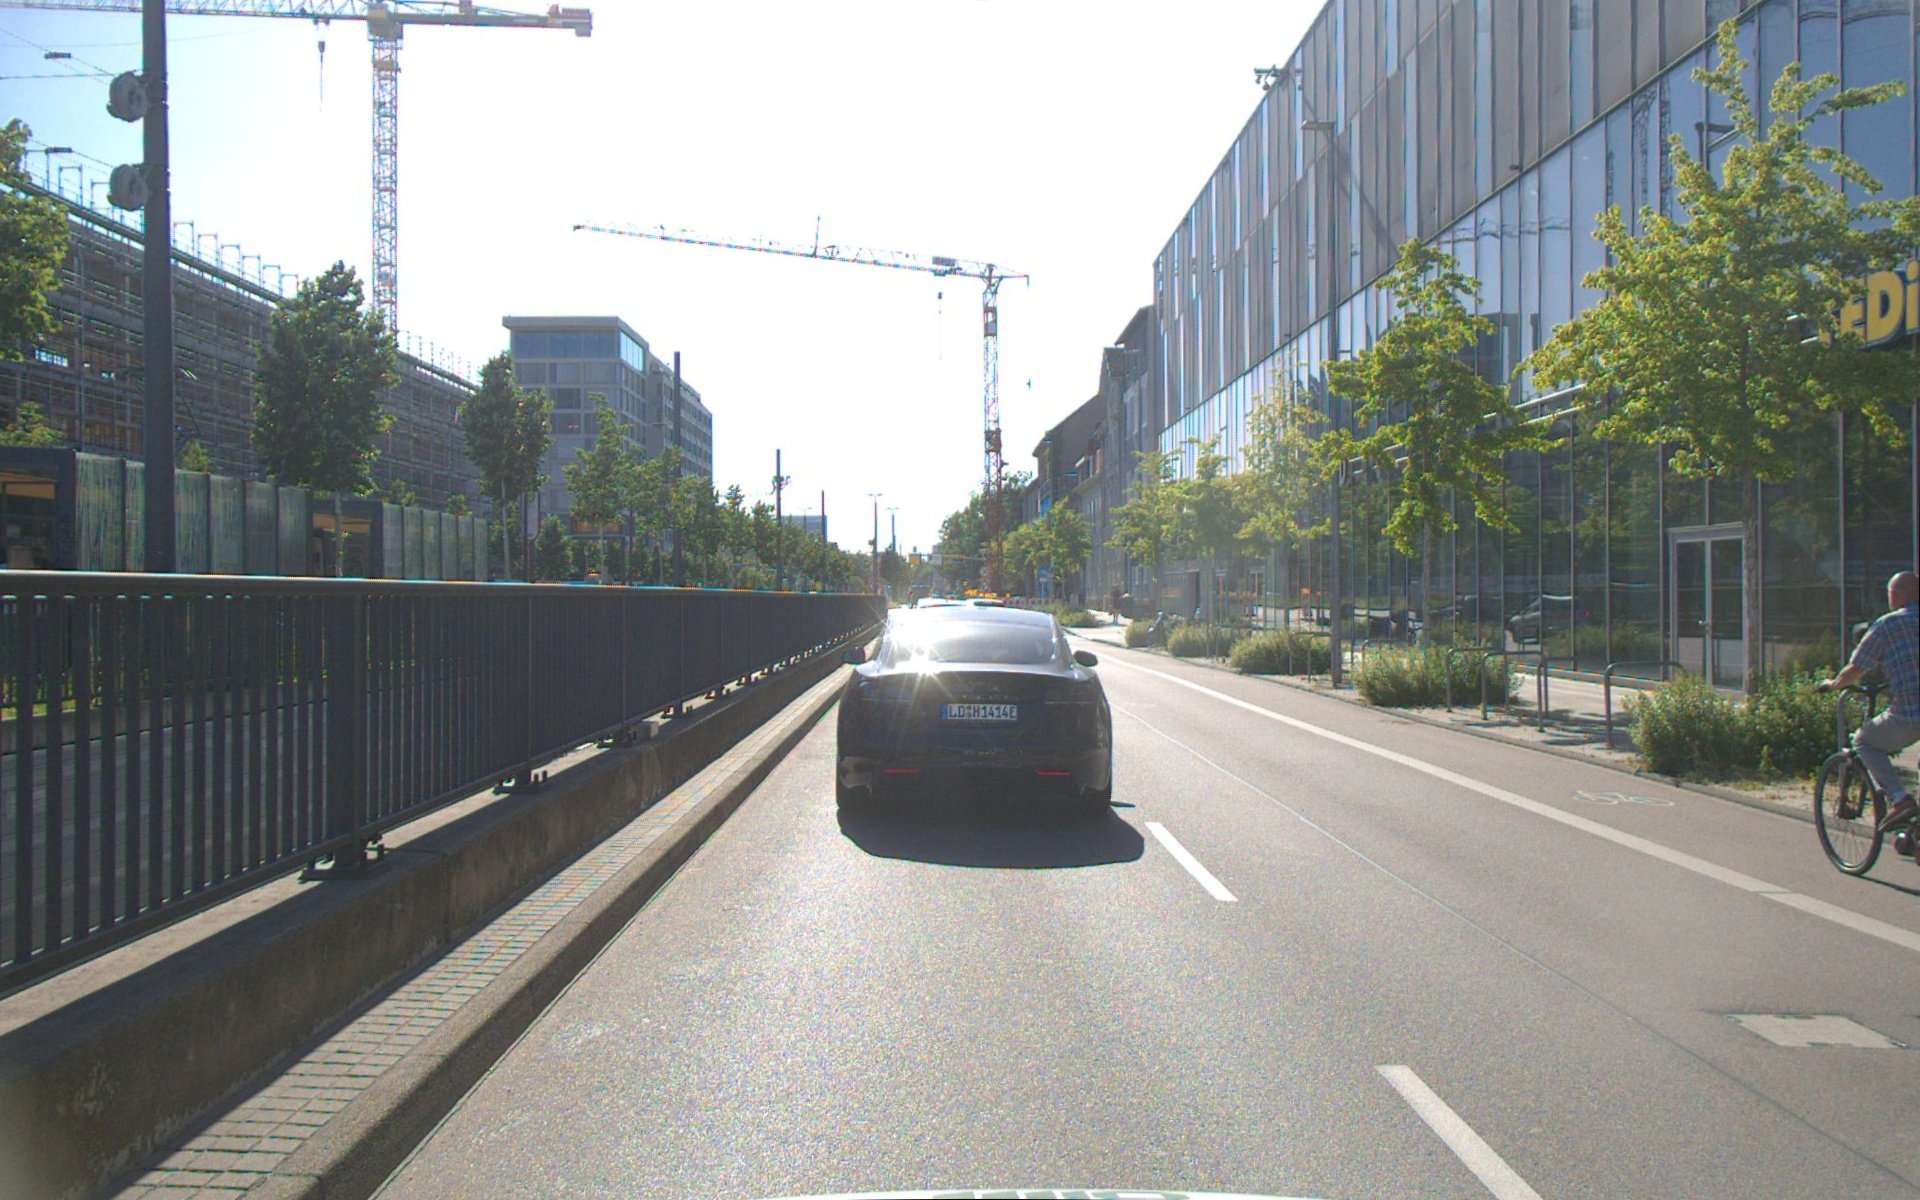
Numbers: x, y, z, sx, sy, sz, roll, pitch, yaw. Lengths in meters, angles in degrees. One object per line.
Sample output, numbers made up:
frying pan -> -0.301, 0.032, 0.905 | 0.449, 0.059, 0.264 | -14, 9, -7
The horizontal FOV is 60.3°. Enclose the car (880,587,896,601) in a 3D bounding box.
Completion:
car -> -9.263, -0.715, 212.586 | 1.953, 1.713, 3.998 | 1, 0, -2

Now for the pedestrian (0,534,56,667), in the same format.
pedestrian -> -12.067, 0.006, 20.969 | 0.726, 1.657, 0.861 | 0, 0, 0

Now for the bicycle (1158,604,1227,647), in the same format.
bicycle -> 6.717, 0.735, 47.823 | 1.848, 1.171, 0.670 | -2, 0, -11

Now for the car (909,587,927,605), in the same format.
car -> -4.489, -0.426, 175.518 | 1.776, 1.841, 4.039 | 0, 1, 0

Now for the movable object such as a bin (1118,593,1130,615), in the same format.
movable object such as a bin -> 8.890, 0.197, 89.669 | 0.547, 1.189, 0.562 | 1, 0, 3

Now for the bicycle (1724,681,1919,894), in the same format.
bicycle -> 5.277, 1.024, 9.327 | 0.714, 1.001, 2.331 | 1, 0, -4

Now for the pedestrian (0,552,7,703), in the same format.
pedestrian -> -10.891, 0.300, 17.835 | 0.726, 1.657, 0.861 | 0, 0, 0

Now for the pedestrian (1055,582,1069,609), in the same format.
pedestrian -> 7.172, -0.313, 116.478 | 0.834, 1.896, 0.929 | -1, 0, -2

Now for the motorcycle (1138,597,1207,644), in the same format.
motorcycle -> 6.732, 0.644, 52.463 | 2.030, 1.377, 0.652 | -3, -1, 22

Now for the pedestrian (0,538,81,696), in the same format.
pedestrian -> -10.066, 0.180, 17.822 | 0.726, 1.657, 0.861 | 0, 0, 0

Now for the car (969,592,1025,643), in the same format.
car -> 1.179, 0.549, 54.138 | 1.748, 1.573, 4.039 | 0, 1, 0

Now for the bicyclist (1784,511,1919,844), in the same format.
bicyclist -> 5.266, 0.405, 9.302 | 0.710, 1.767, 0.997 | -1, 0, -4

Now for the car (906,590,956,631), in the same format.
car -> -1.160, 0.405, 67.647 | 1.849, 1.624, 4.001 | 0, 1, 2

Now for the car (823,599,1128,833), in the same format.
car -> 0.179, 0.745, 12.895 | 1.957, 1.459, 4.414 | 1, 0, 2

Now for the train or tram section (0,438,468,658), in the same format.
train or tram section -> -15.409, -0.894, 36.343 | 2.812, 3.337, 22.140 | 2, 0, -1

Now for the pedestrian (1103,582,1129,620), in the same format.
pedestrian -> 7.912, 0.050, 83.886 | 1.073, 1.896, 1.522 | -1, 0, -2

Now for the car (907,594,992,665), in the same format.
car -> -0.199, 0.572, 34.497 | 1.681, 1.343, 4.000 | 0, 1, 0

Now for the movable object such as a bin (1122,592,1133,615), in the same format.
movable object such as a bin -> 8.982, 0.197, 88.822 | 0.547, 1.189, 0.562 | 1, 0, 3

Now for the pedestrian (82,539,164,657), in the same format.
pedestrian -> -11.976, -0.034, 23.694 | 0.726, 1.657, 0.861 | 0, 0, 0

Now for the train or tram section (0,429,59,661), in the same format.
train or tram section -> -15.147, -0.786, 17.705 | 2.812, 3.337, 15.182 | 2, 0, -1
